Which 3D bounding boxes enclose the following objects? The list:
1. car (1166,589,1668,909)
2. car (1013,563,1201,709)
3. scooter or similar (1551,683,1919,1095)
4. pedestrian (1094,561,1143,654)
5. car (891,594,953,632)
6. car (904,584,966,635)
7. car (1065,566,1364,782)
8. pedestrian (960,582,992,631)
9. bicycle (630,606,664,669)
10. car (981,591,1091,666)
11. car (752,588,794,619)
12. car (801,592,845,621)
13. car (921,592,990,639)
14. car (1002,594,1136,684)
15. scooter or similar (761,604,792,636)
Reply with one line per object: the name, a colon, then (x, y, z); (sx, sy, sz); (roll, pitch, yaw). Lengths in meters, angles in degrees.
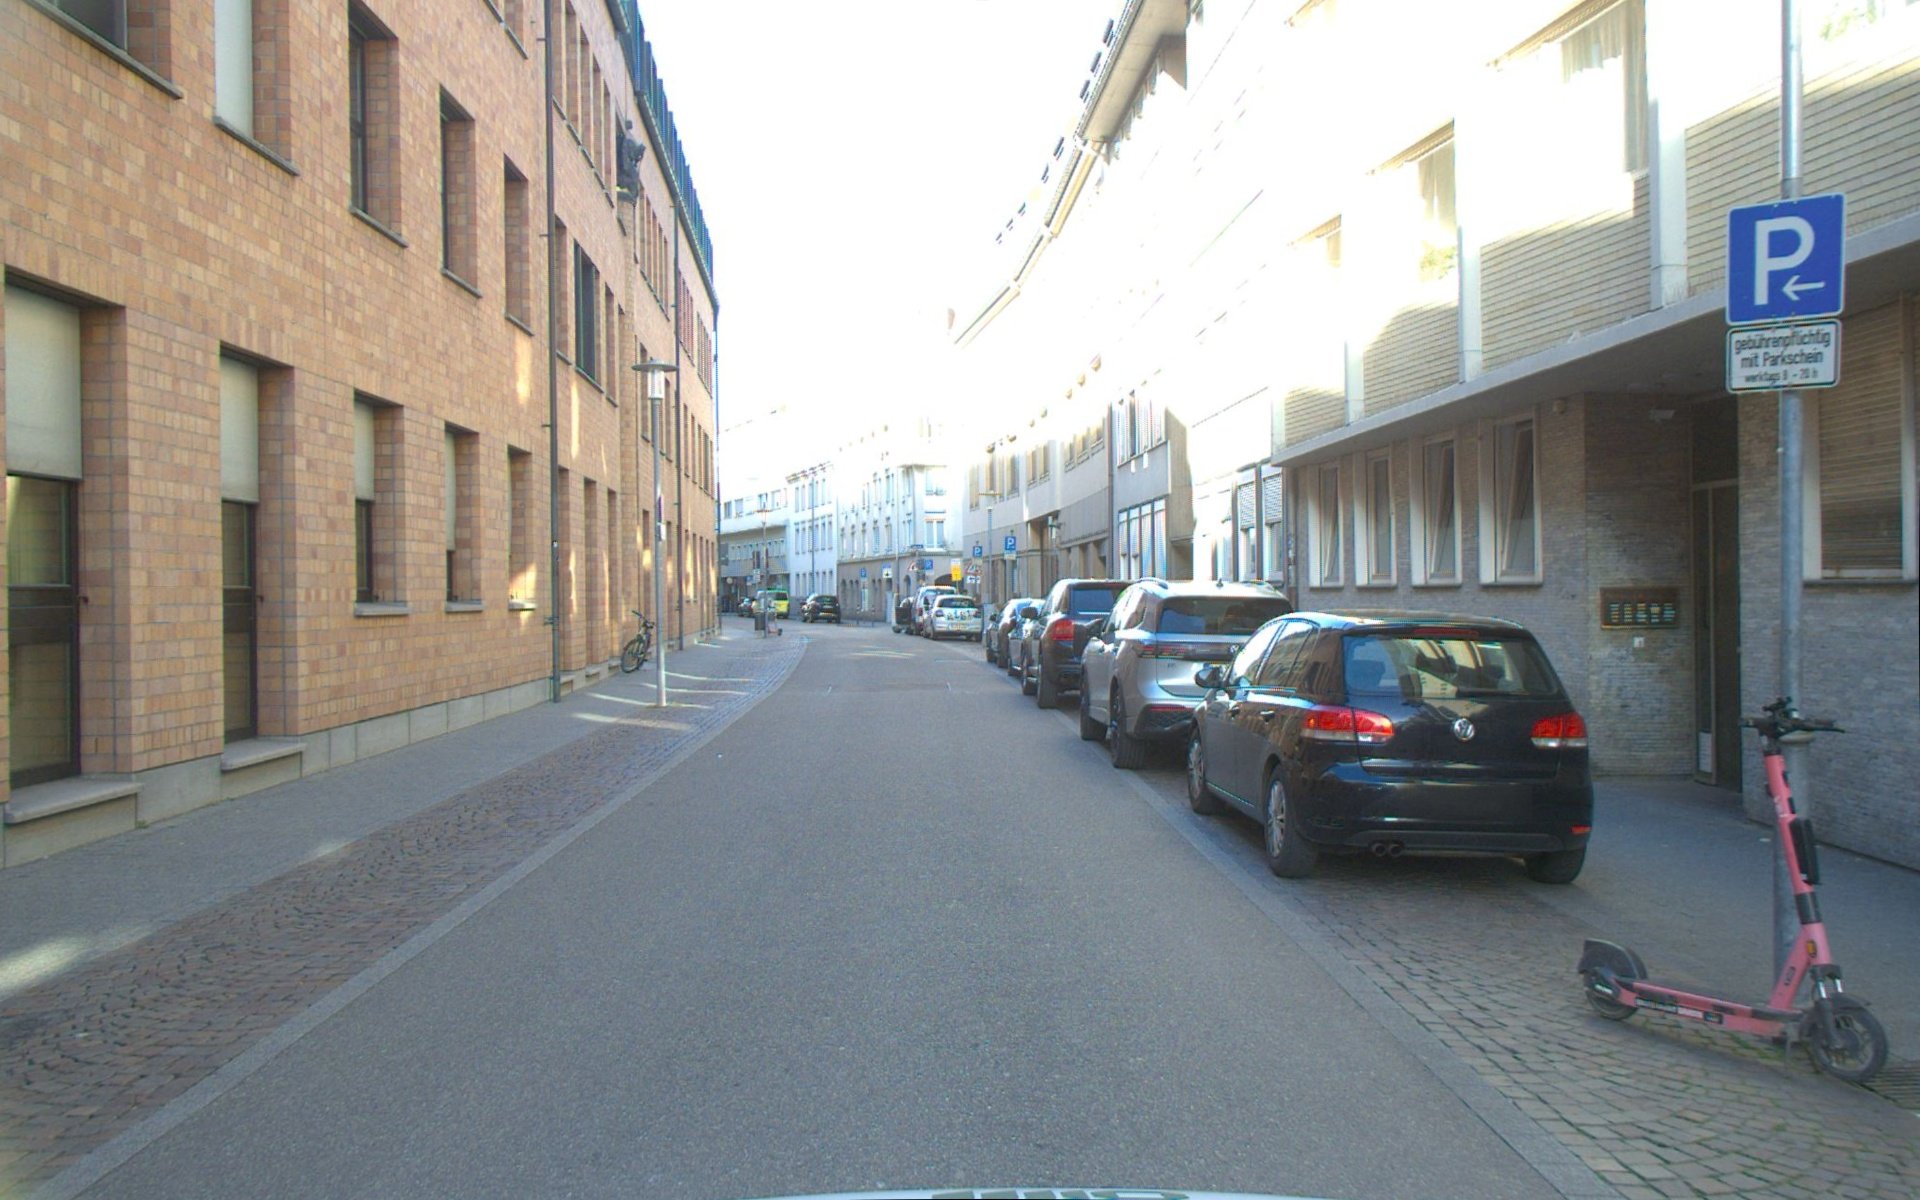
car: (2.580, 0.736, 10.576); (1.786, 1.531, 4.598); (2, 0, -2)
car: (1.940, 0.441, 23.376); (2.061, 1.817, 5.050); (0, 0, -2)
scooter or similar: (2.790, 0.941, 5.867); (0.487, 1.215, 1.293); (-1, 0, -30)
pedestrian: (3.086, 0.146, 32.231); (0.773, 1.751, 0.746); (-3, 0, -3)
car: (-1.609, 0.529, 68.759); (1.855, 1.545, 4.051); (0, 0, -12)
car: (-0.996, 0.353, 62.847); (1.796, 1.822, 5.205); (0, 0, -7)
car: (2.249, 0.597, 15.982); (1.953, 1.731, 4.841); (1, 0, -2)
pedestrian: (0.600, 0.237, 62.776); (1.022, 1.833, 1.197); (-1, -1, -7)
bicycle: (-6.286, 0.741, 33.163); (0.620, 1.183, 1.799); (2, 0, -11)
car: (1.556, 0.552, 35.581); (1.856, 1.478, 5.222); (1, 0, -3)
car: (-12.900, 0.211, 113.986); (2.022, 2.049, 4.151); (-1, 0, -19)
car: (-8.132, 0.373, 98.117); (1.935, 1.722, 4.085); (1, 0, -15)
car: (-0.193, 0.498, 56.601); (1.806, 1.504, 4.161); (1, 0, -8)
car: (1.859, 0.637, 29.558); (1.771, 1.437, 4.786); (1, 0, -4)
scooter or similar: (-7.337, 0.803, 66.283); (0.683, 1.238, 1.357); (-1, 0, 20)
